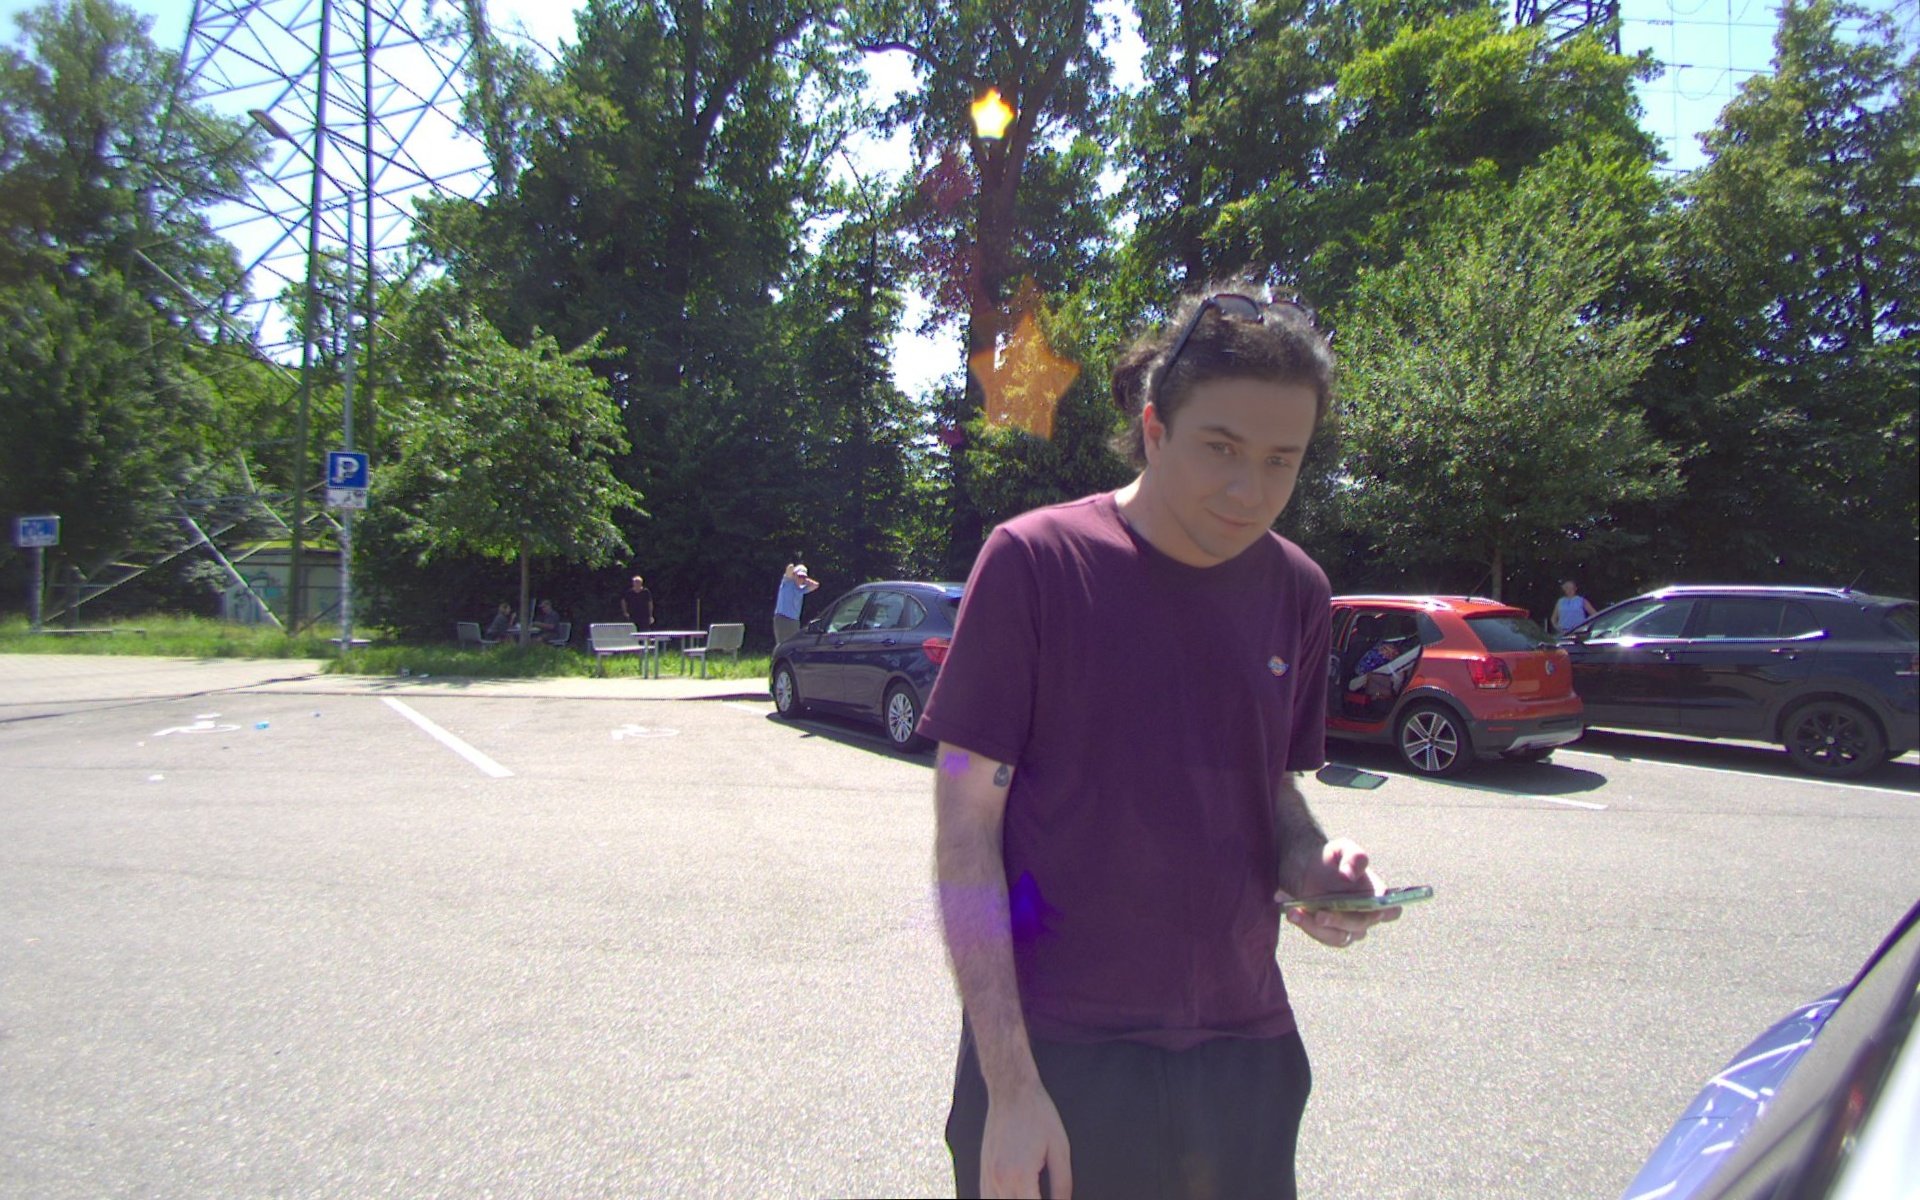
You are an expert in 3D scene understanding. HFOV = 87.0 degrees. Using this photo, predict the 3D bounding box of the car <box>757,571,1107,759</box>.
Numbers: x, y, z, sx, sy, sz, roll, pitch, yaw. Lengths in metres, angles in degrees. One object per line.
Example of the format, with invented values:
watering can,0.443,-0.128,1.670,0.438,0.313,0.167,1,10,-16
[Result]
car,-0.487,0.543,10.705,1.809,1.588,4.017,1,0,-35

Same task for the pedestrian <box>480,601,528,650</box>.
pedestrian,-10.303,0.569,22.856,0.796,1.062,0.714,1,-1,-43

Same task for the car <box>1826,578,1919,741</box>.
car,10.899,0.598,9.435,1.745,1.612,3.972,1,0,-32

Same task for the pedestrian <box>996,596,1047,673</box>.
pedestrian,1.037,0.579,17.194,0.656,1.285,0.655,1,-1,-17

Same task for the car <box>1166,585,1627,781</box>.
car,3.923,0.619,9.656,1.746,1.475,3.710,1,0,-33

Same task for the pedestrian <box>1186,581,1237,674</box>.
pedestrian,4.465,0.475,18.011,0.796,1.614,0.774,1,-1,8

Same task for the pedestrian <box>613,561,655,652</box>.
pedestrian,-6.796,0.136,21.130,0.700,1.851,0.906,1,-1,-10

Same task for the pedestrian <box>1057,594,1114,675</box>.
pedestrian,2.092,0.565,16.928,0.656,1.311,0.832,1,-1,-17

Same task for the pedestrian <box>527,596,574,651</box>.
pedestrian,-9.554,0.537,23.613,0.796,1.253,0.713,1,-1,-44

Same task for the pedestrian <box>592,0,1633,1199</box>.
pedestrian,0.199,0.394,1.191,0.828,1.797,0.926,0,-1,45

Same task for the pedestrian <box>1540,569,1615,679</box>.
pedestrian,9.324,0.352,15.285,0.794,1.614,0.715,1,-1,-36

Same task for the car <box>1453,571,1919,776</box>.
car,7.204,0.574,9.844,1.807,1.612,3.967,1,0,-38

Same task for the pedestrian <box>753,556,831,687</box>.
pedestrian,-2.377,0.295,14.318,0.786,1.784,0.809,1,-1,-39
